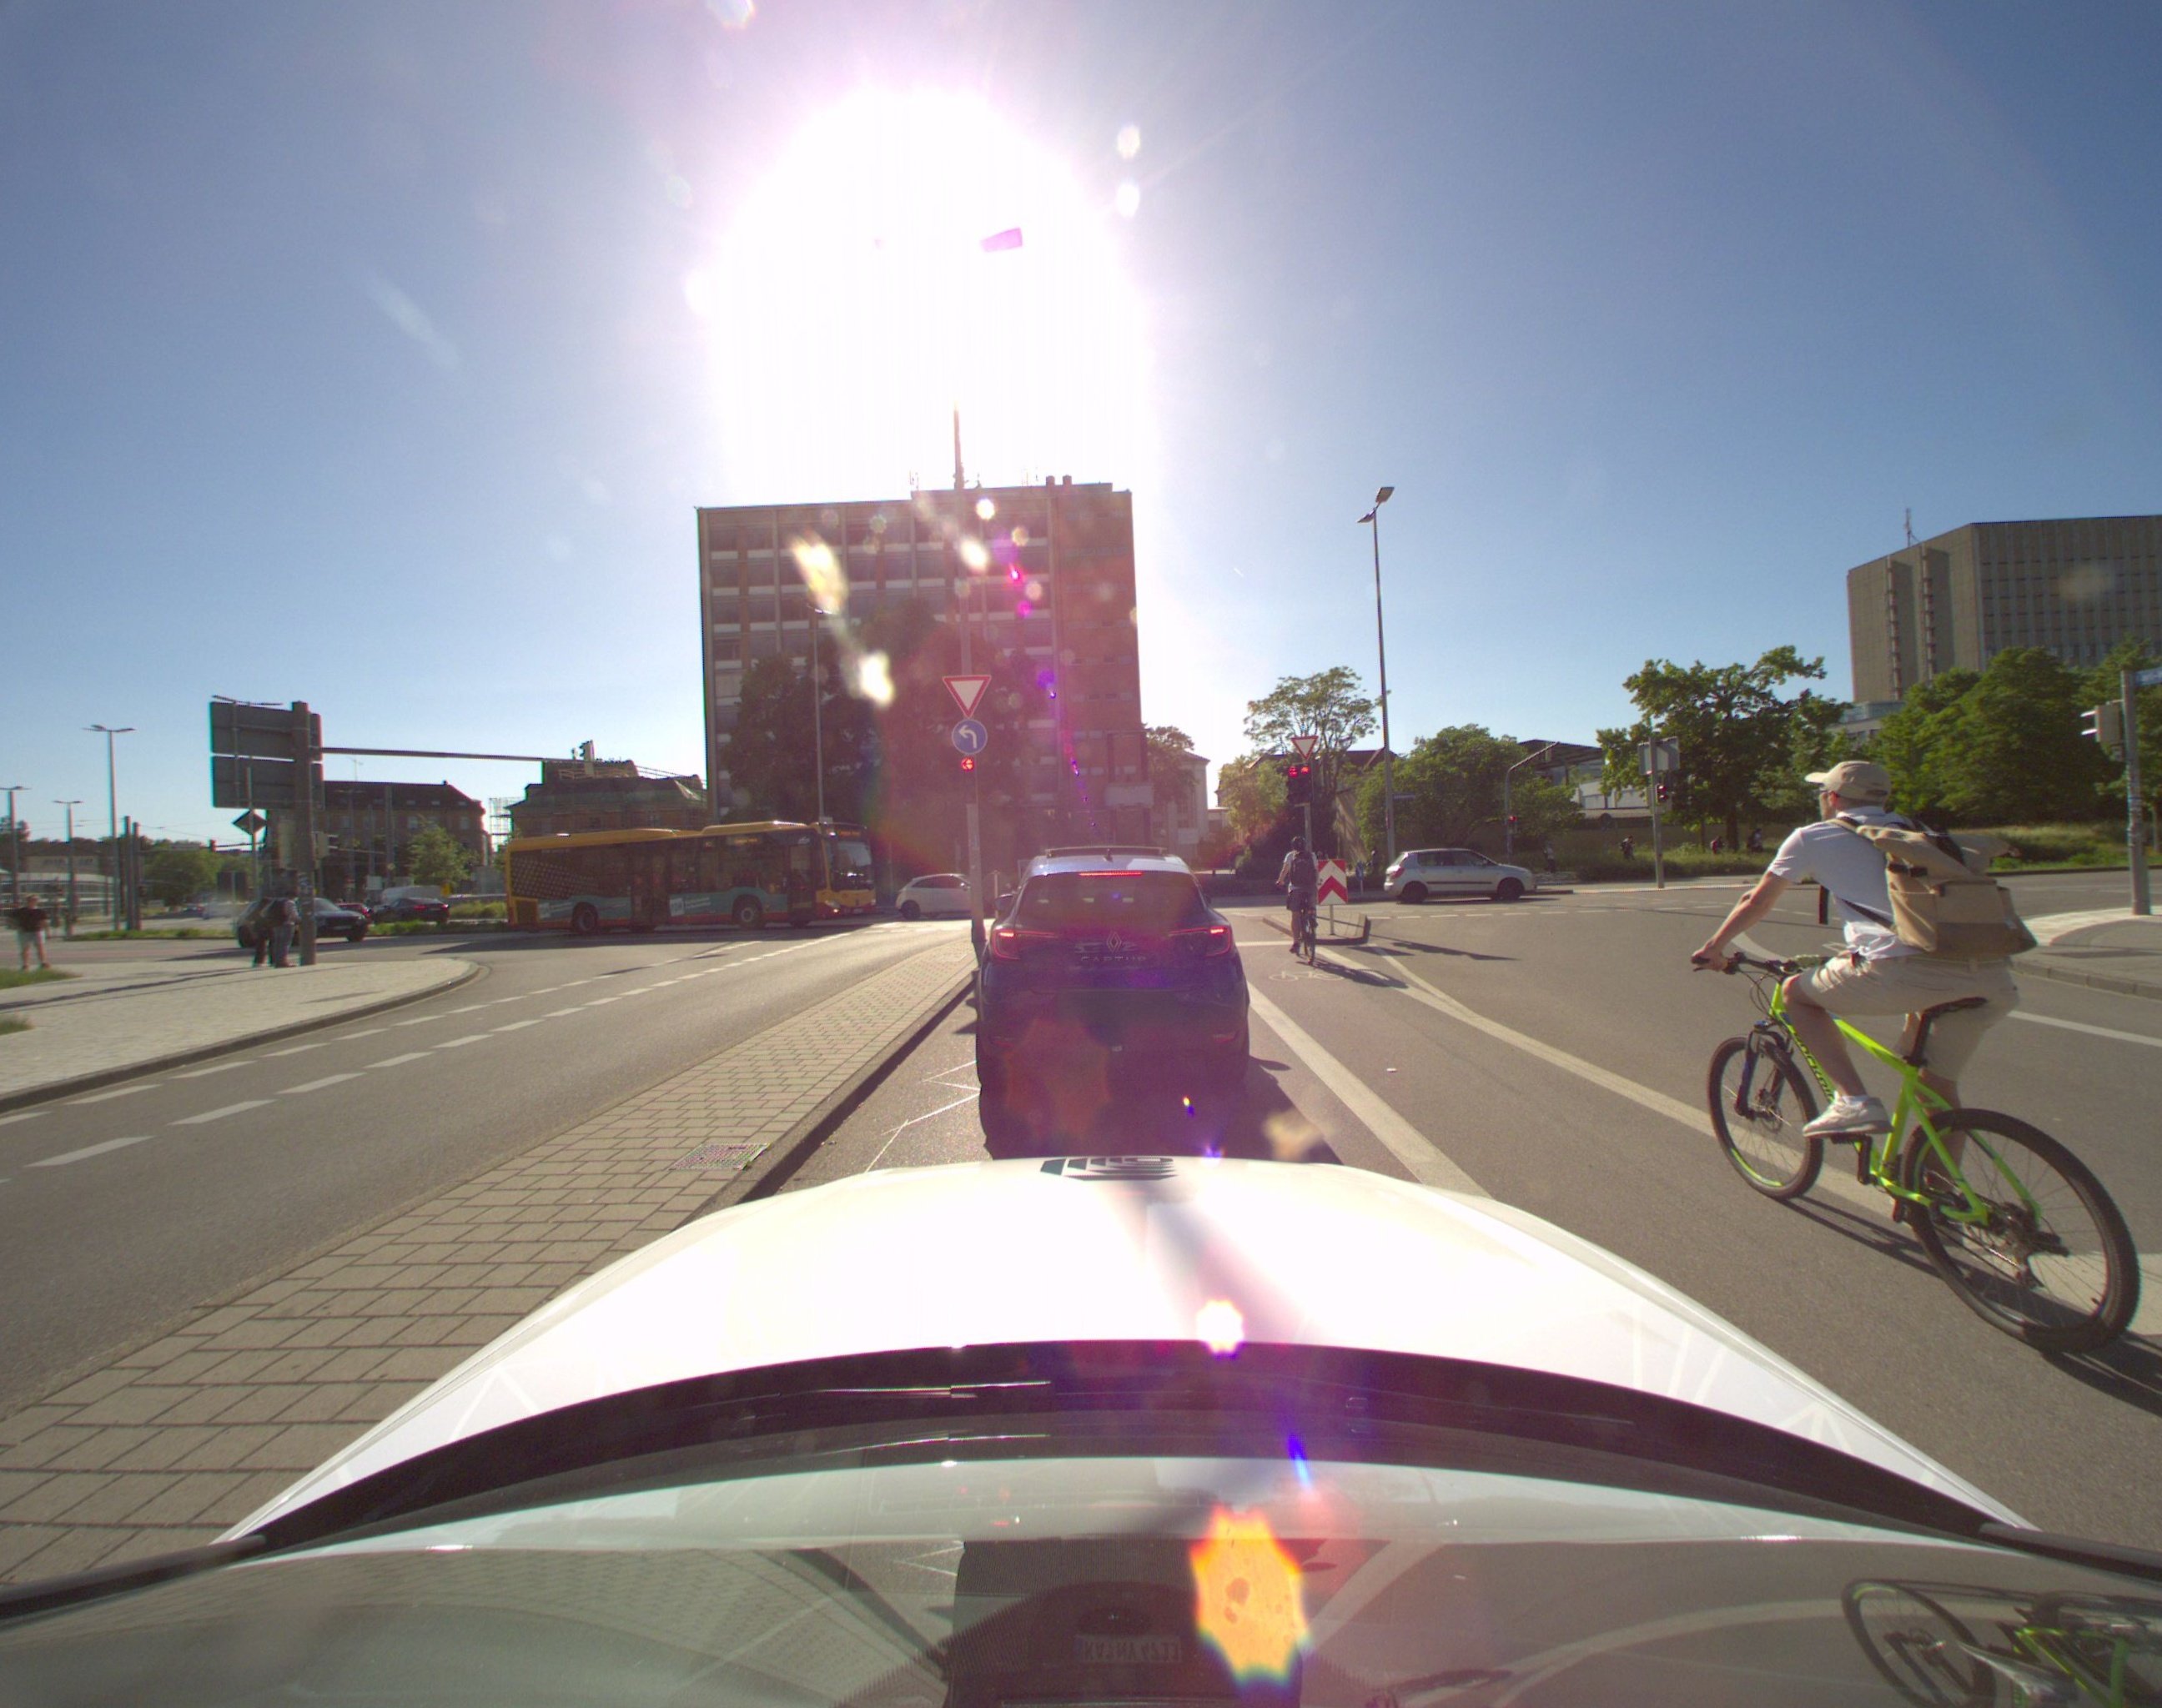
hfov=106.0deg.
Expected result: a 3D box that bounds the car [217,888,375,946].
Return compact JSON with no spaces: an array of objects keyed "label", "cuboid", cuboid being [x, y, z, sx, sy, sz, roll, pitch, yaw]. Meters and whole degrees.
[{"label":"car","cuboid":[-28.882,2.297,29.991,4.691,1.861,2.013,-3,-1,15]}]

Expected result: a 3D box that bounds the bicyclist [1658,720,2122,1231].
[{"label":"bicyclist","cuboid":[2.896,0.376,3.072,0.672,1.583,1.081,0,0,1]}]

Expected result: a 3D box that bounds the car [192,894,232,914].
[{"label":"car","cuboid":[-93.468,5.346,87.580,3.949,2.014,2.079,-1,-1,31]}]

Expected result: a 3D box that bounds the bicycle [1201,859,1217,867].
[{"label":"bicycle","cuboid":[15.555,1.106,99.016,1.764,0.893,0.766,-2,-1,2]}]

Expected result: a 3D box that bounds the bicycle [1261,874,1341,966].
[{"label":"bicycle","cuboid":[3.063,0.877,11.495,0.613,1.138,1.826,-2,0,0]}]

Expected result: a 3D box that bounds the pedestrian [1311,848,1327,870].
[{"label":"pedestrian","cuboid":[19.157,0.408,65.447,0.949,1.741,0.984,-2,-1,2]}]

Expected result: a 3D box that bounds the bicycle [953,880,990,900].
[{"label":"bicycle","cuboid":[-5.949,1.953,44.151,1.867,1.007,0.696,-3,-3,-17]}]

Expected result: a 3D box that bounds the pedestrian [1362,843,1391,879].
[{"label":"pedestrian","cuboid":[15.909,0.393,43.909,1.288,1.855,0.969,-3,-1,13]}]

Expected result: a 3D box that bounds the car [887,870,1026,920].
[{"label":"car","cuboid":[-3.948,1.294,26.103,3.959,1.373,1.766,-3,0,13]}]

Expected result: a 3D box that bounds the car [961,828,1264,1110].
[{"label":"car","cuboid":[0.221,0.683,6.782,1.788,1.655,3.853,-1,0,1]}]

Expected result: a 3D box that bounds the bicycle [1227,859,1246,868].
[{"label":"bicycle","cuboid":[15.808,0.943,82.834,1.770,0.823,0.763,-2,-1,-9]}]

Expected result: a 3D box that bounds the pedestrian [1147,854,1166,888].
[{"label":"pedestrian","cuboid":[4.294,0.949,46.093,0.926,1.855,0.809,-3,-1,11]}]

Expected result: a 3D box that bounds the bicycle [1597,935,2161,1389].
[{"label":"bicycle","cuboid":[2.902,0.927,3.138,0.669,1.050,1.844,0,0,1]}]

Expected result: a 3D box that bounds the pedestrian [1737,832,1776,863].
[{"label":"pedestrian","cuboid":[33.940,-0.315,40.930,1.138,1.521,0.880,-3,-1,5]}]

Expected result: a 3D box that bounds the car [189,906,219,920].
[{"label":"car","cuboid":[-113.369,7.656,105.276,3.948,1.582,2.013,-1,-1,33]}]

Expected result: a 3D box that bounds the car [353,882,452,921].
[{"label":"car","cuboid":[-49.682,3.468,59.626,6.870,2.547,3.031,-3,-1,27]}]

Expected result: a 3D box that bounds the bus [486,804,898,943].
[{"label":"bus","cuboid":[-12.082,0.701,25.173,12.326,3.570,3.264,-3,-1,16]}]

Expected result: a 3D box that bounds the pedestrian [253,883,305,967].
[{"label":"pedestrian","cuboid":[-18.201,1.598,18.482,0.673,1.855,0.608,-3,-1,25]}]

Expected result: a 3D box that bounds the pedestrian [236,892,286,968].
[{"label":"pedestrian","cuboid":[-19.253,1.771,19.115,0.627,1.697,0.608,-3,-1,25]}]

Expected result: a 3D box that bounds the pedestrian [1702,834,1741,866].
[{"label":"pedestrian","cuboid":[31.650,-0.203,40.266,1.140,1.521,0.944,-2,-1,7]}]

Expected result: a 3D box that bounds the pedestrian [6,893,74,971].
[{"label":"pedestrian","cuboid":[-26.192,1.948,20.491,0.856,1.845,0.847,-3,-1,25]}]

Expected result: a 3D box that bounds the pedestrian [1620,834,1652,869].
[{"label":"pedestrian","cuboid":[27.983,-0.128,41.101,0.958,1.732,0.928,-2,-1,7]}]

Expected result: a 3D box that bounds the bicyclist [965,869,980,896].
[{"label":"bicyclist","cuboid":[-5.902,1.551,44.206,0.638,1.412,0.645,-2,-3,-17]}]

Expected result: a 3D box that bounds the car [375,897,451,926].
[{"label":"car","cuboid":[-38.664,3.331,47.121,3.771,1.518,2.012,-3,-1,27]}]

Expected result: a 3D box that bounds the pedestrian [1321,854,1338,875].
[{"label":"pedestrian","cuboid":[19.735,0.814,64.742,0.932,1.613,1.176,-2,-1,2]}]

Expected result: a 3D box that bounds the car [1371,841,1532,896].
[{"label":"car","cuboid":[10.268,0.457,22.855,3.816,1.403,1.899,-2,-3,15]}]

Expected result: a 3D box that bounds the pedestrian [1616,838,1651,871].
[{"label":"pedestrian","cuboid":[27.125,0.029,39.993,1.069,1.521,0.880,-2,-1,6]}]

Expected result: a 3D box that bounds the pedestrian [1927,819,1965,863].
[{"label":"pedestrian","cuboid":[42.495,-0.630,40.020,0.891,2.079,0.814,-2,-1,5]}]

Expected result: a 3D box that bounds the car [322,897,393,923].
[{"label":"car","cuboid":[-50.584,3.922,56.932,4.797,1.582,2.114,-3,0,27]}]

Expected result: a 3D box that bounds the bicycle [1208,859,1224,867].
[{"label":"bicycle","cuboid":[15.700,1.052,94.646,1.764,0.898,0.766,-2,-1,2]}]

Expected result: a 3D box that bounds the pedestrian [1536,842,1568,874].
[{"label":"pedestrian","cuboid":[23.806,0.207,41.164,1.078,1.521,0.933,-2,-1,11]}]

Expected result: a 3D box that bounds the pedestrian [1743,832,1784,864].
[{"label":"pedestrian","cuboid":[33.737,-0.304,40.276,1.123,1.521,0.992,-2,-1,5]}]

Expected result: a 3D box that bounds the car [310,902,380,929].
[{"label":"car","cuboid":[-46.107,3.843,51.040,3.771,1.518,2.012,-3,-1,27]}]

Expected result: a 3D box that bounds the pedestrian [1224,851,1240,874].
[{"label":"pedestrian","cuboid":[13.378,0.737,71.994,1.152,2.013,1.165,-2,-1,2]}]

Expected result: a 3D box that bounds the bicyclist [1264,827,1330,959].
[{"label":"bicyclist","cuboid":[3.044,0.536,11.537,0.674,1.785,0.939,-1,-1,0]}]

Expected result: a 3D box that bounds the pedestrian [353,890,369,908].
[{"label":"pedestrian","cuboid":[-83.653,5.216,94.568,1.078,2.013,1.282,-3,-1,44]}]
